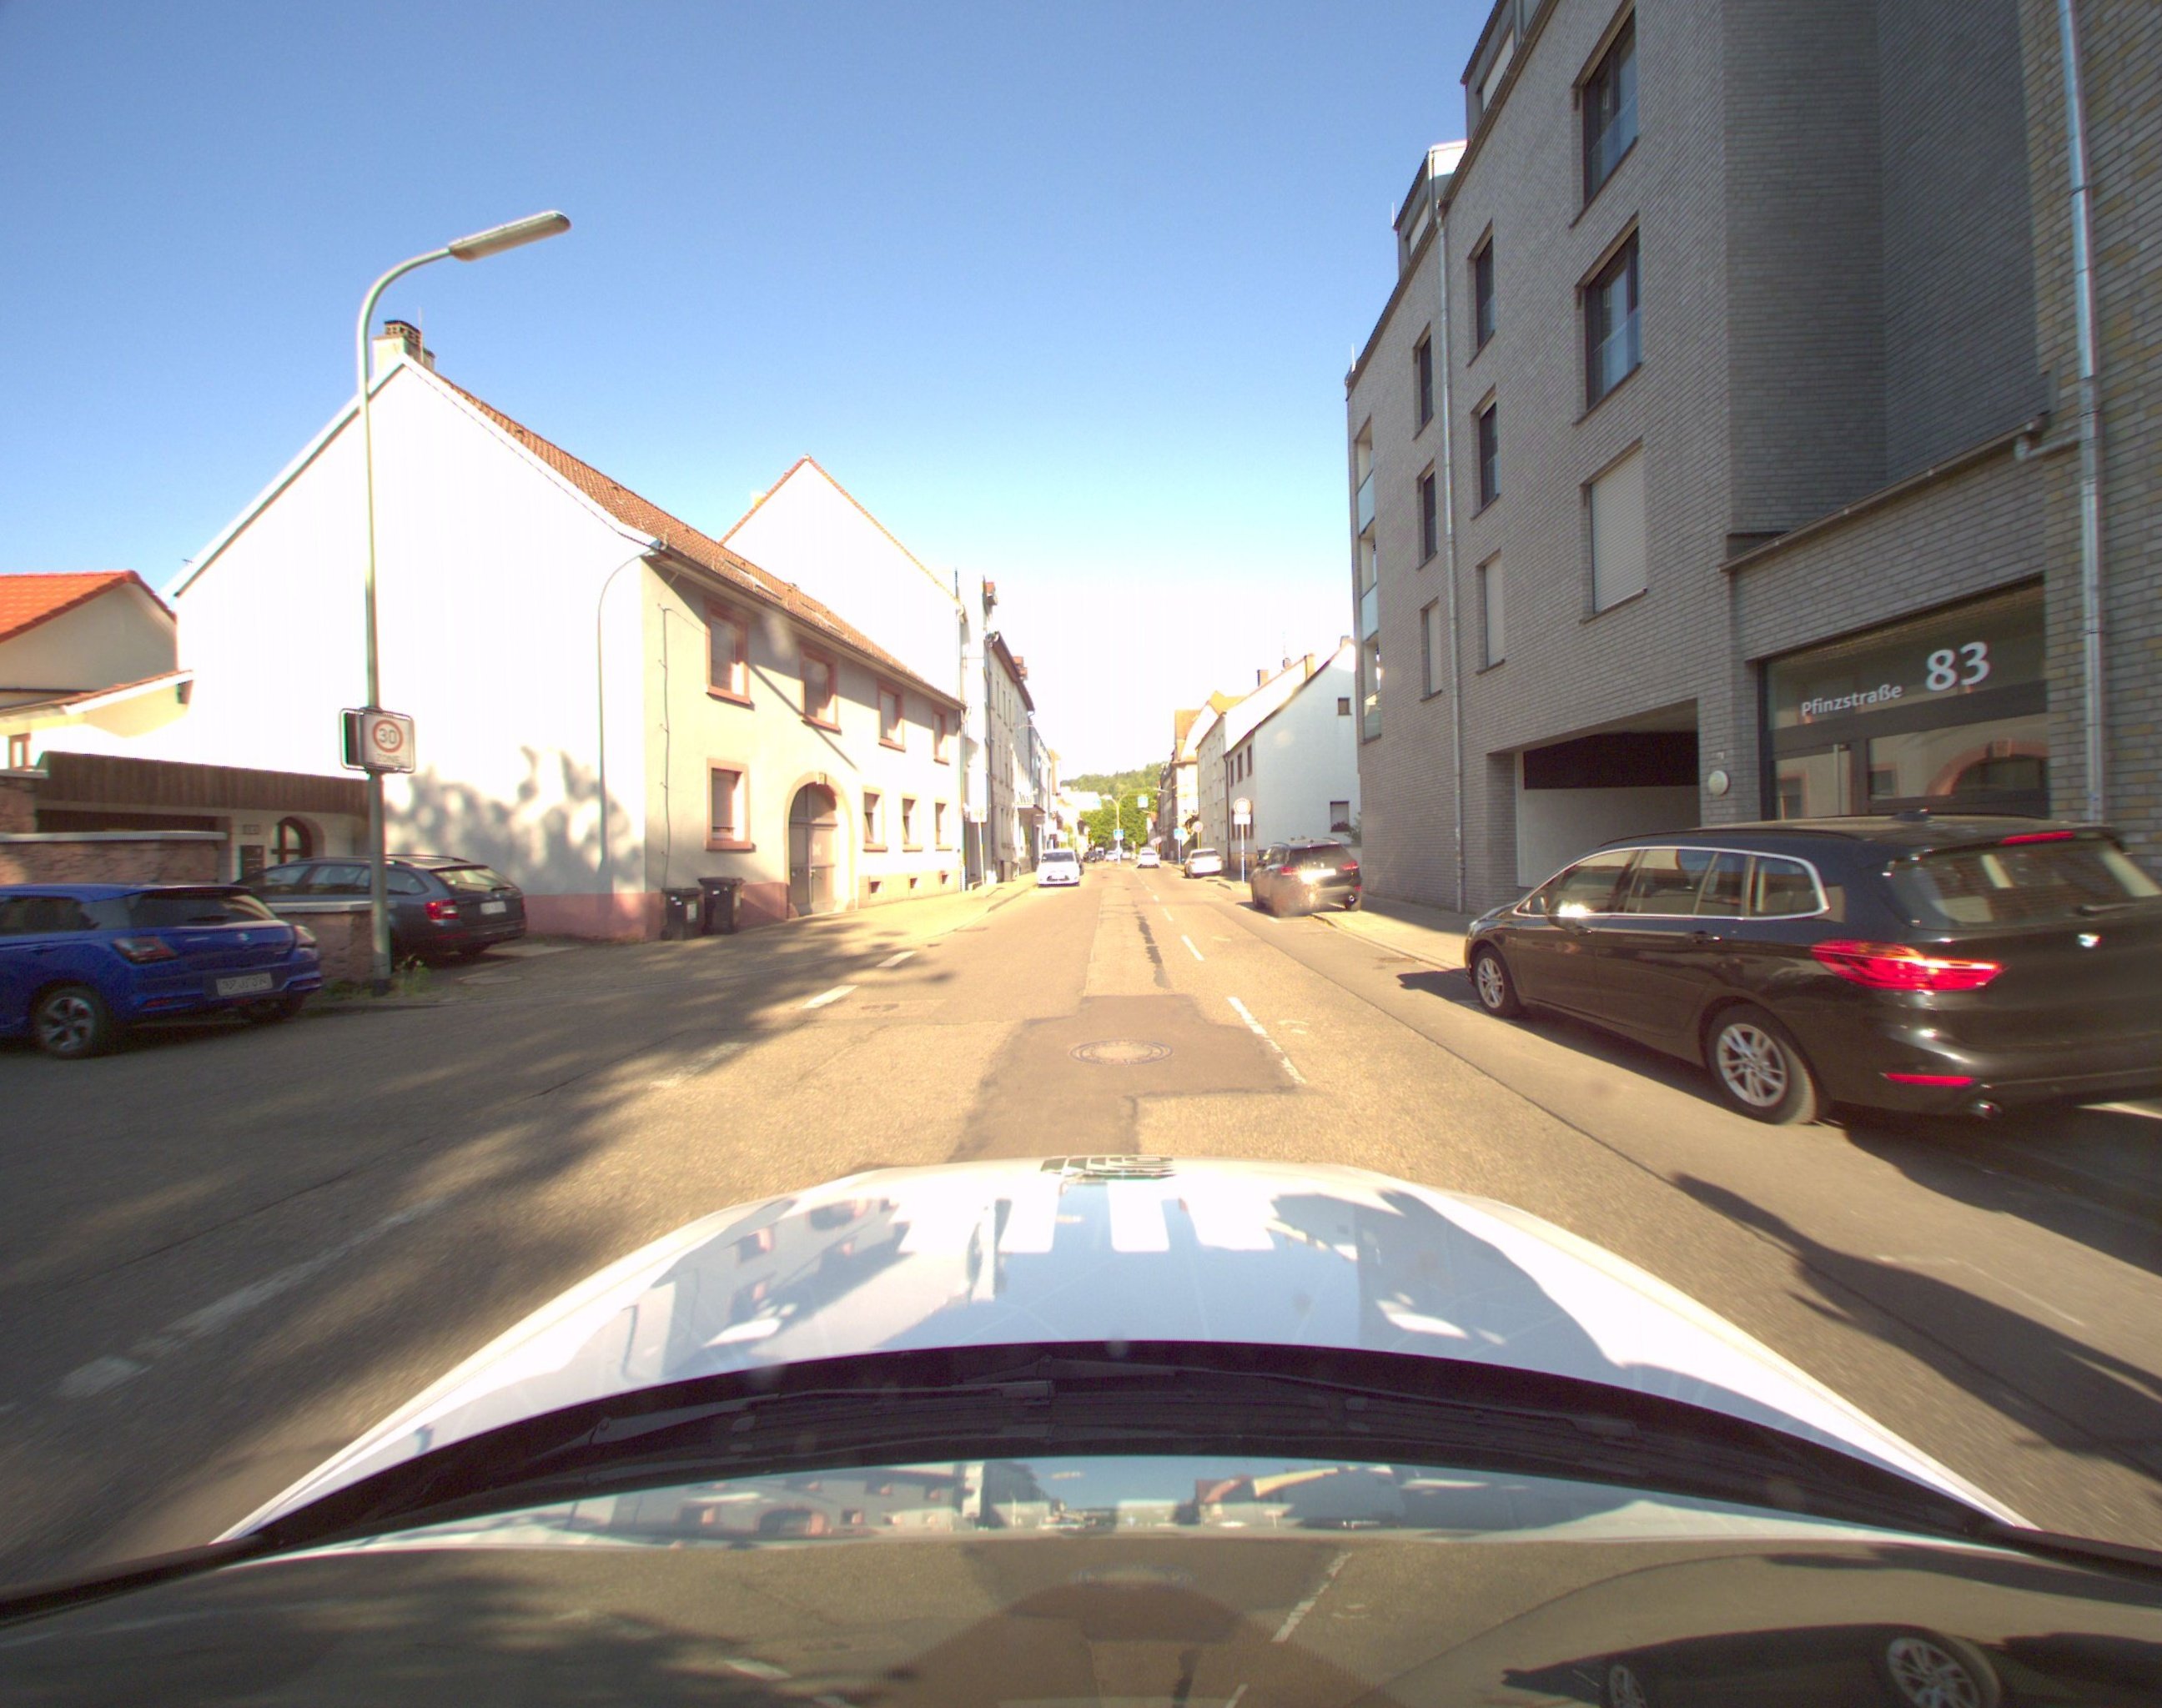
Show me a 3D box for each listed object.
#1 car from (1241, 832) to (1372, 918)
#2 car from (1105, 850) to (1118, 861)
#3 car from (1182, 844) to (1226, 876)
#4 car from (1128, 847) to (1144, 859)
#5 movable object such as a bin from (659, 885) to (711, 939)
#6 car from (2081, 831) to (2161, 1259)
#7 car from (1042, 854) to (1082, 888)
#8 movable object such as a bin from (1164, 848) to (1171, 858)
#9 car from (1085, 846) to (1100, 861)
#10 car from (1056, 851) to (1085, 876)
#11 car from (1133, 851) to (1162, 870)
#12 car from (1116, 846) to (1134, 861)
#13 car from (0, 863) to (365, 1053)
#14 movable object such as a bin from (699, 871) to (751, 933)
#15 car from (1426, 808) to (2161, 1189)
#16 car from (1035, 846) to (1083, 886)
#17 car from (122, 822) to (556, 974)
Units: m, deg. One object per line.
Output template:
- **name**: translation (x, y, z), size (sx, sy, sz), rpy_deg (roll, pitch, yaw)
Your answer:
- **car**: translation (5.048, 0.400, 18.918), size (1.847, 1.636, 4.626), rpy_deg (-4, 1, 3)
- **car**: translation (4.933, 0.234, 132.799), size (1.802, 1.701, 4.189), rpy_deg (-4, 0, -2)
- **car**: translation (6.332, 0.277, 42.295), size (1.734, 1.492, 4.442), rpy_deg (-3, 0, 3)
- **car**: translation (9.343, -0.237, 139.276), size (1.992, 2.013, 3.989), rpy_deg (-2, 0, -8)
- **movable object such as a bin**: translation (-6.933, 1.008, 14.286), size (0.596, 0.872, 0.606), rpy_deg (-1, 0, 0)
- **car**: translation (4.750, 0.674, 0.894), size (1.986, 1.505, 4.368), rpy_deg (-2, 1, 1)
- **car**: translation (-0.886, 0.802, 40.757), size (1.759, 1.495, 4.126), rpy_deg (-4, 0, 0)
- **movable object such as a bin**: translation (12.490, -0.089, 117.631), size (0.869, 1.377, 0.684), rpy_deg (-3, 1, -3)
- **car**: translation (1.591, -0.146, 112.984), size (1.987, 2.013, 4.000), rpy_deg (-1, 0, 0)
- **car**: translation (-0.633, 0.632, 52.890), size (1.725, 1.499, 3.960), rpy_deg (-2, 0, 1)
- **car**: translation (5.422, 0.514, 66.628), size (1.987, 1.466, 3.999), rpy_deg (-2, 0, 0)
- **car**: translation (6.543, -0.092, 121.278), size (1.991, 2.013, 3.992), rpy_deg (-2, 0, -6)
- **car**: translation (-9.607, 0.897, 7.778), size (3.753, 1.530, 2.001), rpy_deg (-1, 0, 2)
- **movable object such as a bin**: translation (-6.616, 0.881, 15.151), size (0.596, 1.094, 0.752), rpy_deg (-1, 0, 2)
- **car**: translation (4.573, 0.588, 6.008), size (1.987, 1.653, 4.761), rpy_deg (-2, 1, -1)
- **car**: translation (-0.939, 0.473, 36.347), size (1.988, 1.647, 5.220), rpy_deg (-1, 1, -1)
- **car**: translation (-10.215, 0.524, 11.492), size (4.345, 1.794, 1.990), rpy_deg (2, 3, 3)
